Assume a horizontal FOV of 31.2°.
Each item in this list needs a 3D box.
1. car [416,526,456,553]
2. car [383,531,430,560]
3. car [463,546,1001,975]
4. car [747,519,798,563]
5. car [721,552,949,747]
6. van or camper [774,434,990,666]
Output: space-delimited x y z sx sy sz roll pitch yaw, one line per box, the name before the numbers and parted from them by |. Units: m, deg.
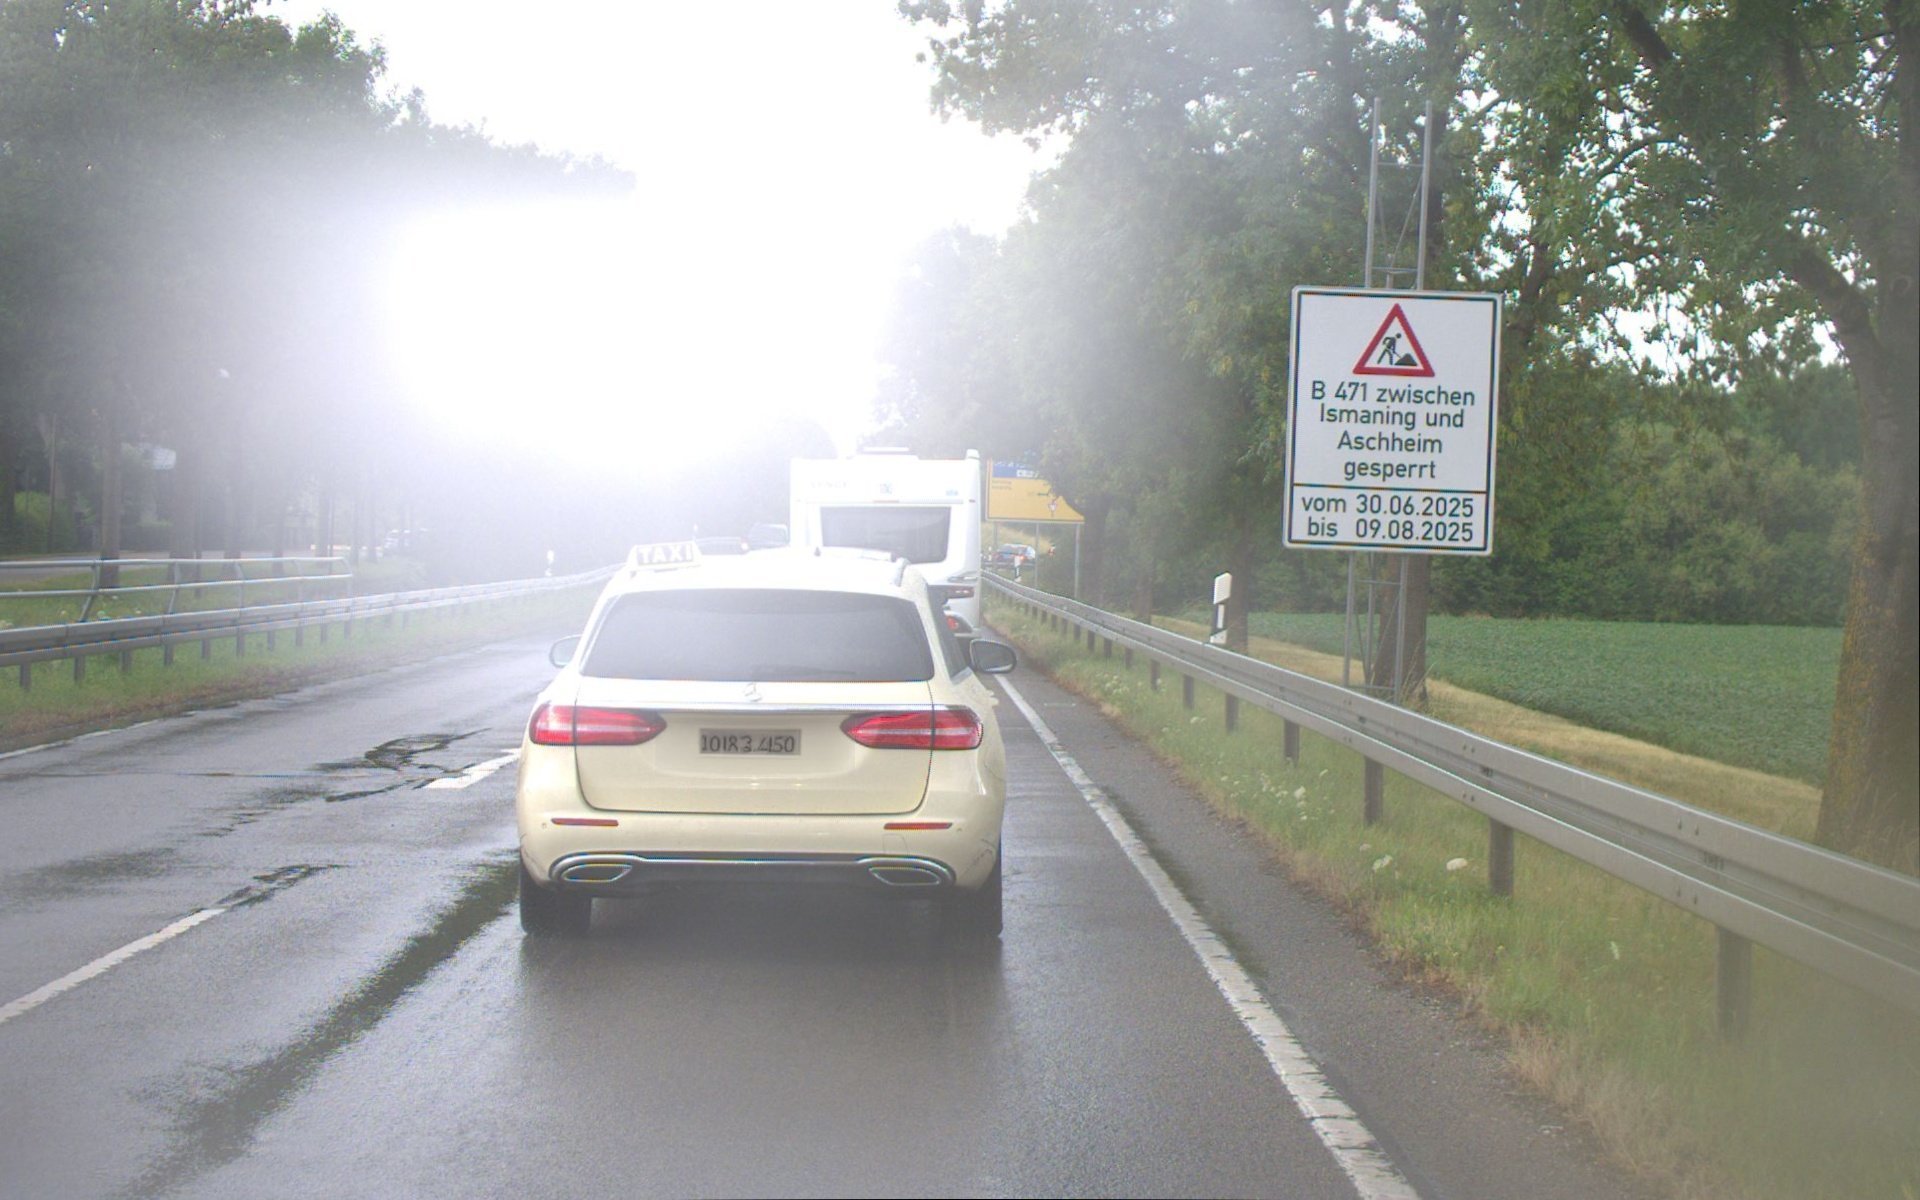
car | -29.718 -3.435 195.027 1.785 1.411 4.001 2 1 -2
car | -29.241 -2.885 181.624 1.785 1.411 4.000 2 1 0
car | -0.785 0.528 13.952 1.865 1.471 4.000 0 1 0
car | -6.949 -2.213 127.819 1.764 1.614 4.000 0 1 -1
car | -0.940 0.337 27.604 1.664 1.426 4.000 0 1 0
van or camper | -0.903 -0.634 43.094 2.489 2.676 5.700 1 1 0
